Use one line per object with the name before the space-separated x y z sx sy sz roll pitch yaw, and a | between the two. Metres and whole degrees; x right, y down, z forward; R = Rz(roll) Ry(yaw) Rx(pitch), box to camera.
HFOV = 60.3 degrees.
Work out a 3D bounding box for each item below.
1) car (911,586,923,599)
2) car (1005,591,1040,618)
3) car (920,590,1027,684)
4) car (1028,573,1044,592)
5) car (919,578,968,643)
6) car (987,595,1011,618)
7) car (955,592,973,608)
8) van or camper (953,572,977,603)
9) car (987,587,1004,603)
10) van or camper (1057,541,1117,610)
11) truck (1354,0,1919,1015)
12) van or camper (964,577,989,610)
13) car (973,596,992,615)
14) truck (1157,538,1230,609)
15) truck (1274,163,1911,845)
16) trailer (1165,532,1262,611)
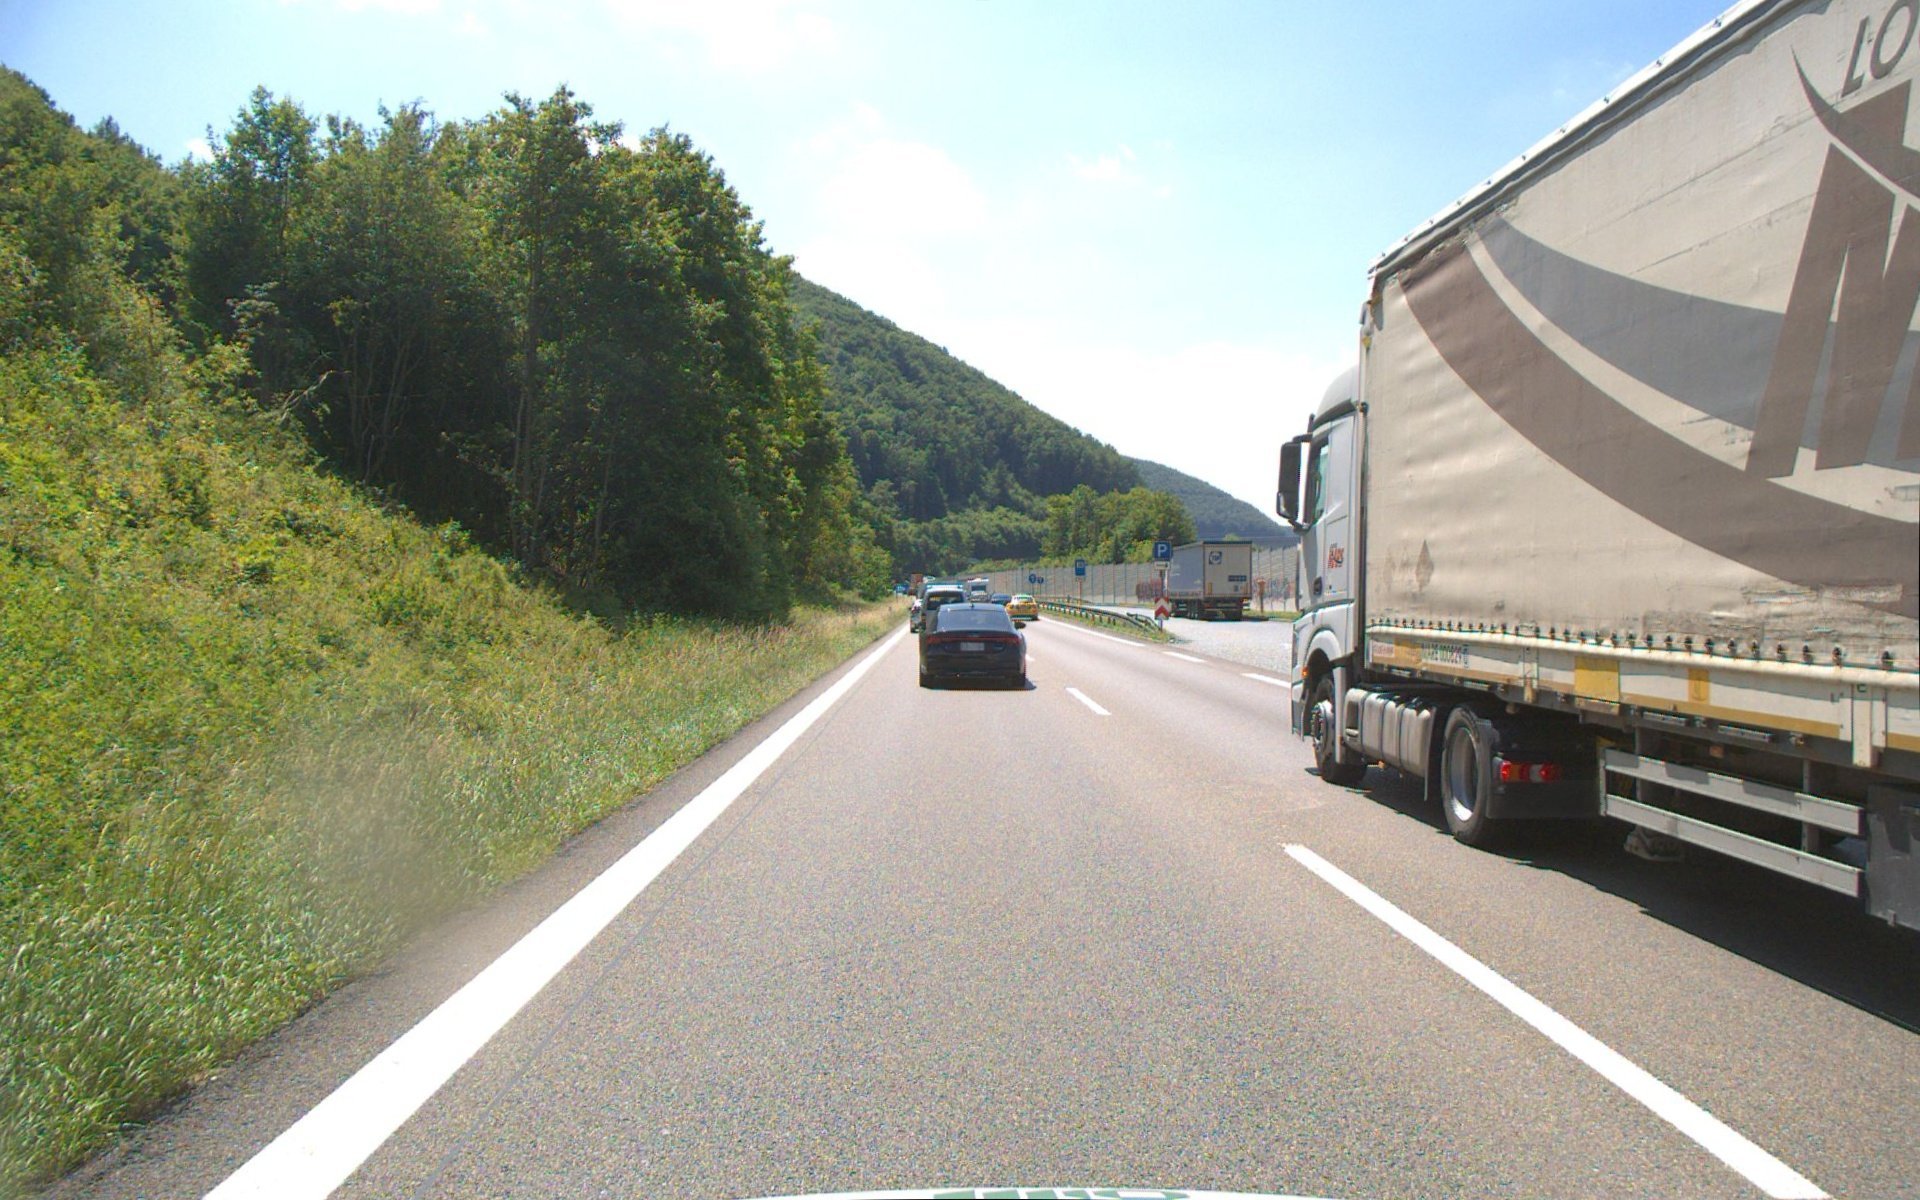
car | -6.437 -1.121 247.646 1.653 2.049 3.999 1 0 -1
car | 3.663 0.279 97.341 1.840 1.525 3.999 1 0 -1
car | 0.219 0.602 29.202 1.775 1.541 3.514 0 0 0
car | 8.140 -1.879 178.328 1.544 2.049 3.427 0 0 -1
car | -0.558 0.352 54.581 1.490 2.002 3.513 3 0 -1
car | 2.767 0.506 118.020 1.499 1.552 3.596 2 -1 -1
car | 0.486 0.040 199.845 1.953 1.825 3.999 2 -1 -1
van or camper | 0.662 -1.630 218.780 2.739 3.975 6.163 2 -1 -3
car | 4.637 -0.628 216.235 1.953 2.049 3.998 0 0 -2
van or camper | 7.509 -1.400 98.772 2.739 3.908 6.163 2 -1 -3
truck | 4.639 -0.620 6.147 2.671 4.139 13.736 1 -1 -2
van or camper | 1.687 -0.662 172.306 2.380 3.210 5.202 2 -1 -1
car | 1.866 0.451 139.776 1.499 1.552 3.596 2 -1 -1
truck | 13.437 -1.489 95.442 3.342 3.968 5.386 1 0 -1
truck | 4.452 -0.563 13.052 2.664 4.139 5.752 1 -1 -2
trailer | 13.564 -1.456 89.576 3.342 3.968 11.149 1 0 -1
